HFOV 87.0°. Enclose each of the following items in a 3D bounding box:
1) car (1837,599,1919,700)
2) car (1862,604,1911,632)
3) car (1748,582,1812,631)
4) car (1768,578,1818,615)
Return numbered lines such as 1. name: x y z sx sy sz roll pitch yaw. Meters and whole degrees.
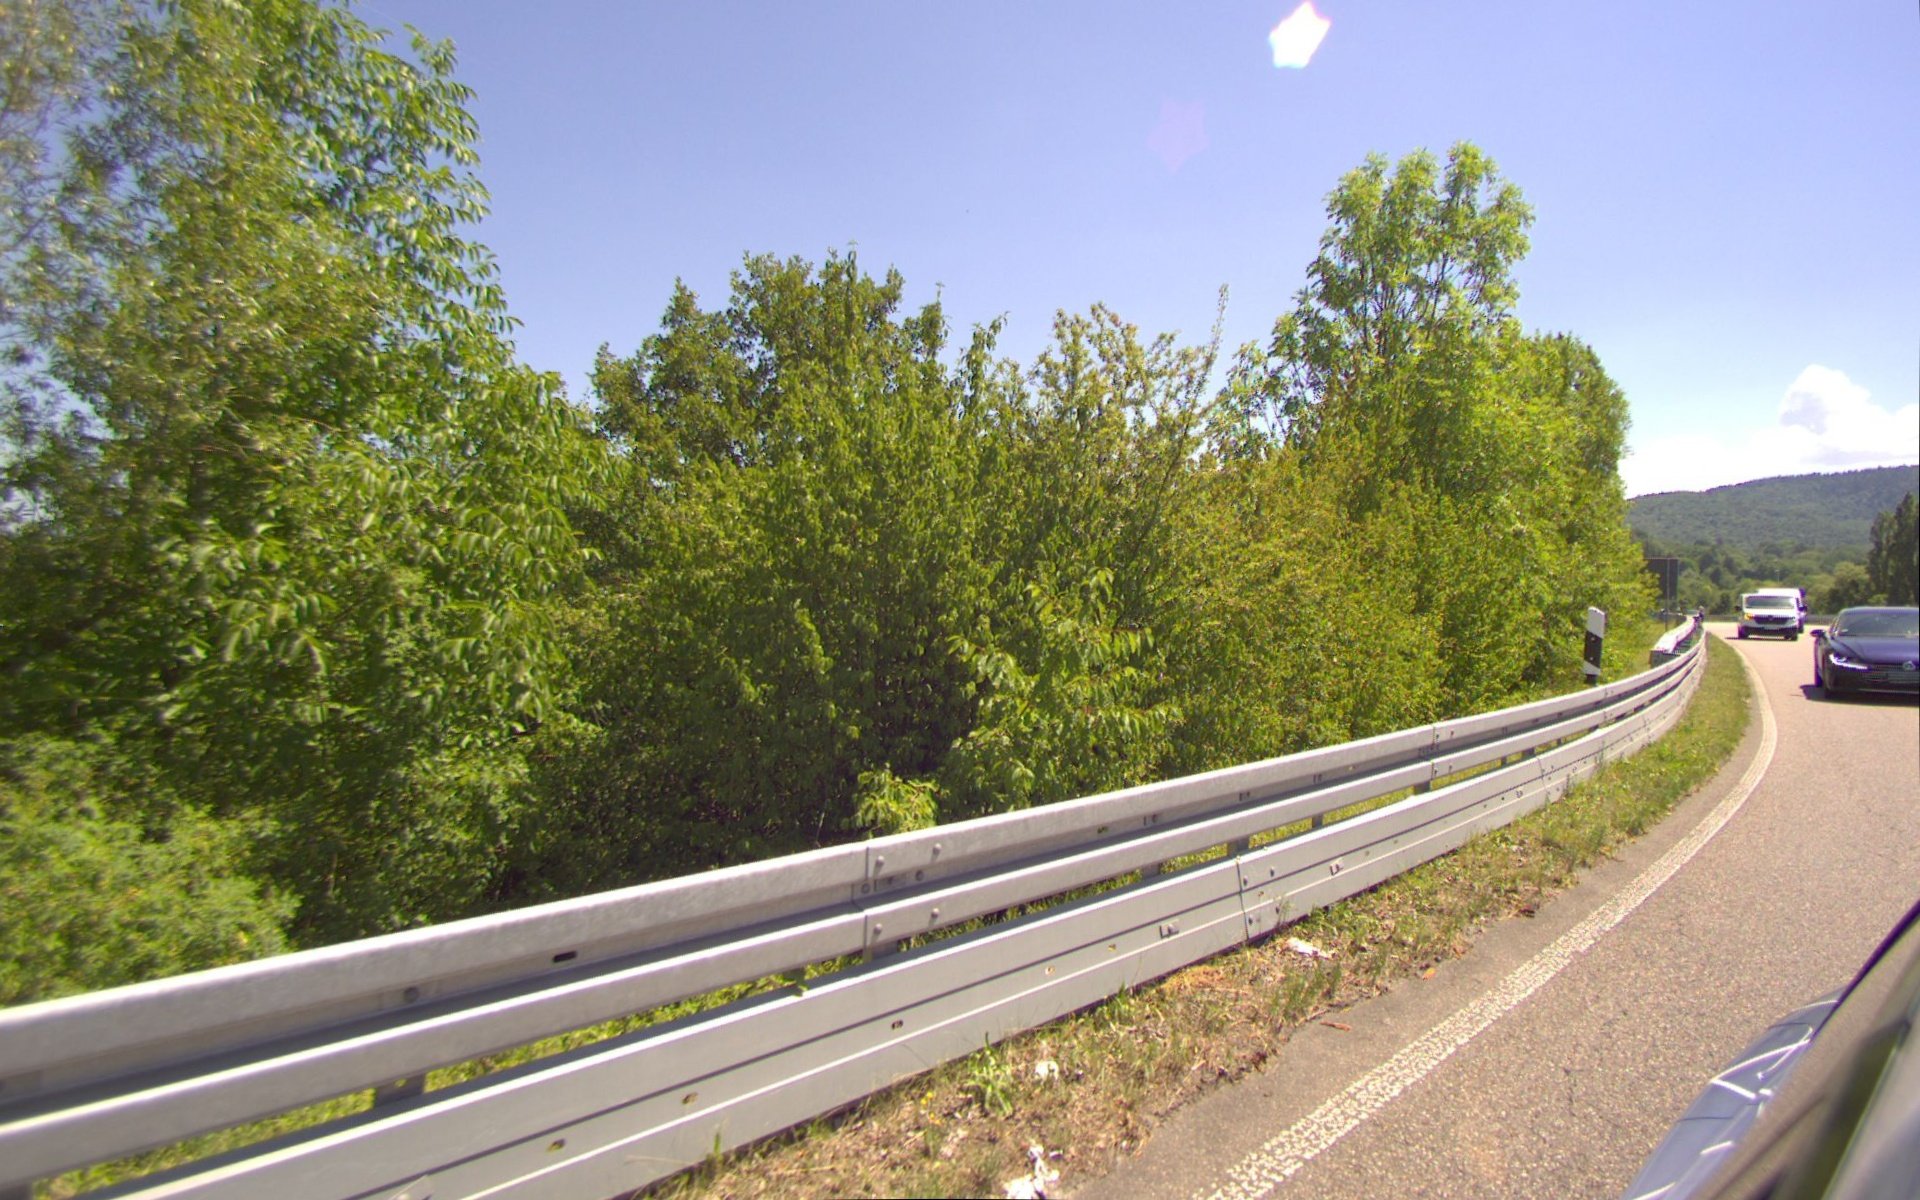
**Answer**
1. car: 15.211 0.721 16.027 1.838 1.449 4.463 0 -1 43
2. car: 56.267 1.116 61.538 1.821 1.632 3.944 -2 -2 38
3. car: 34.885 0.297 43.125 1.989 1.975 4.580 -1 -1 38
4. car: 46.147 -0.164 56.121 1.989 1.975 4.580 -1 -1 38
